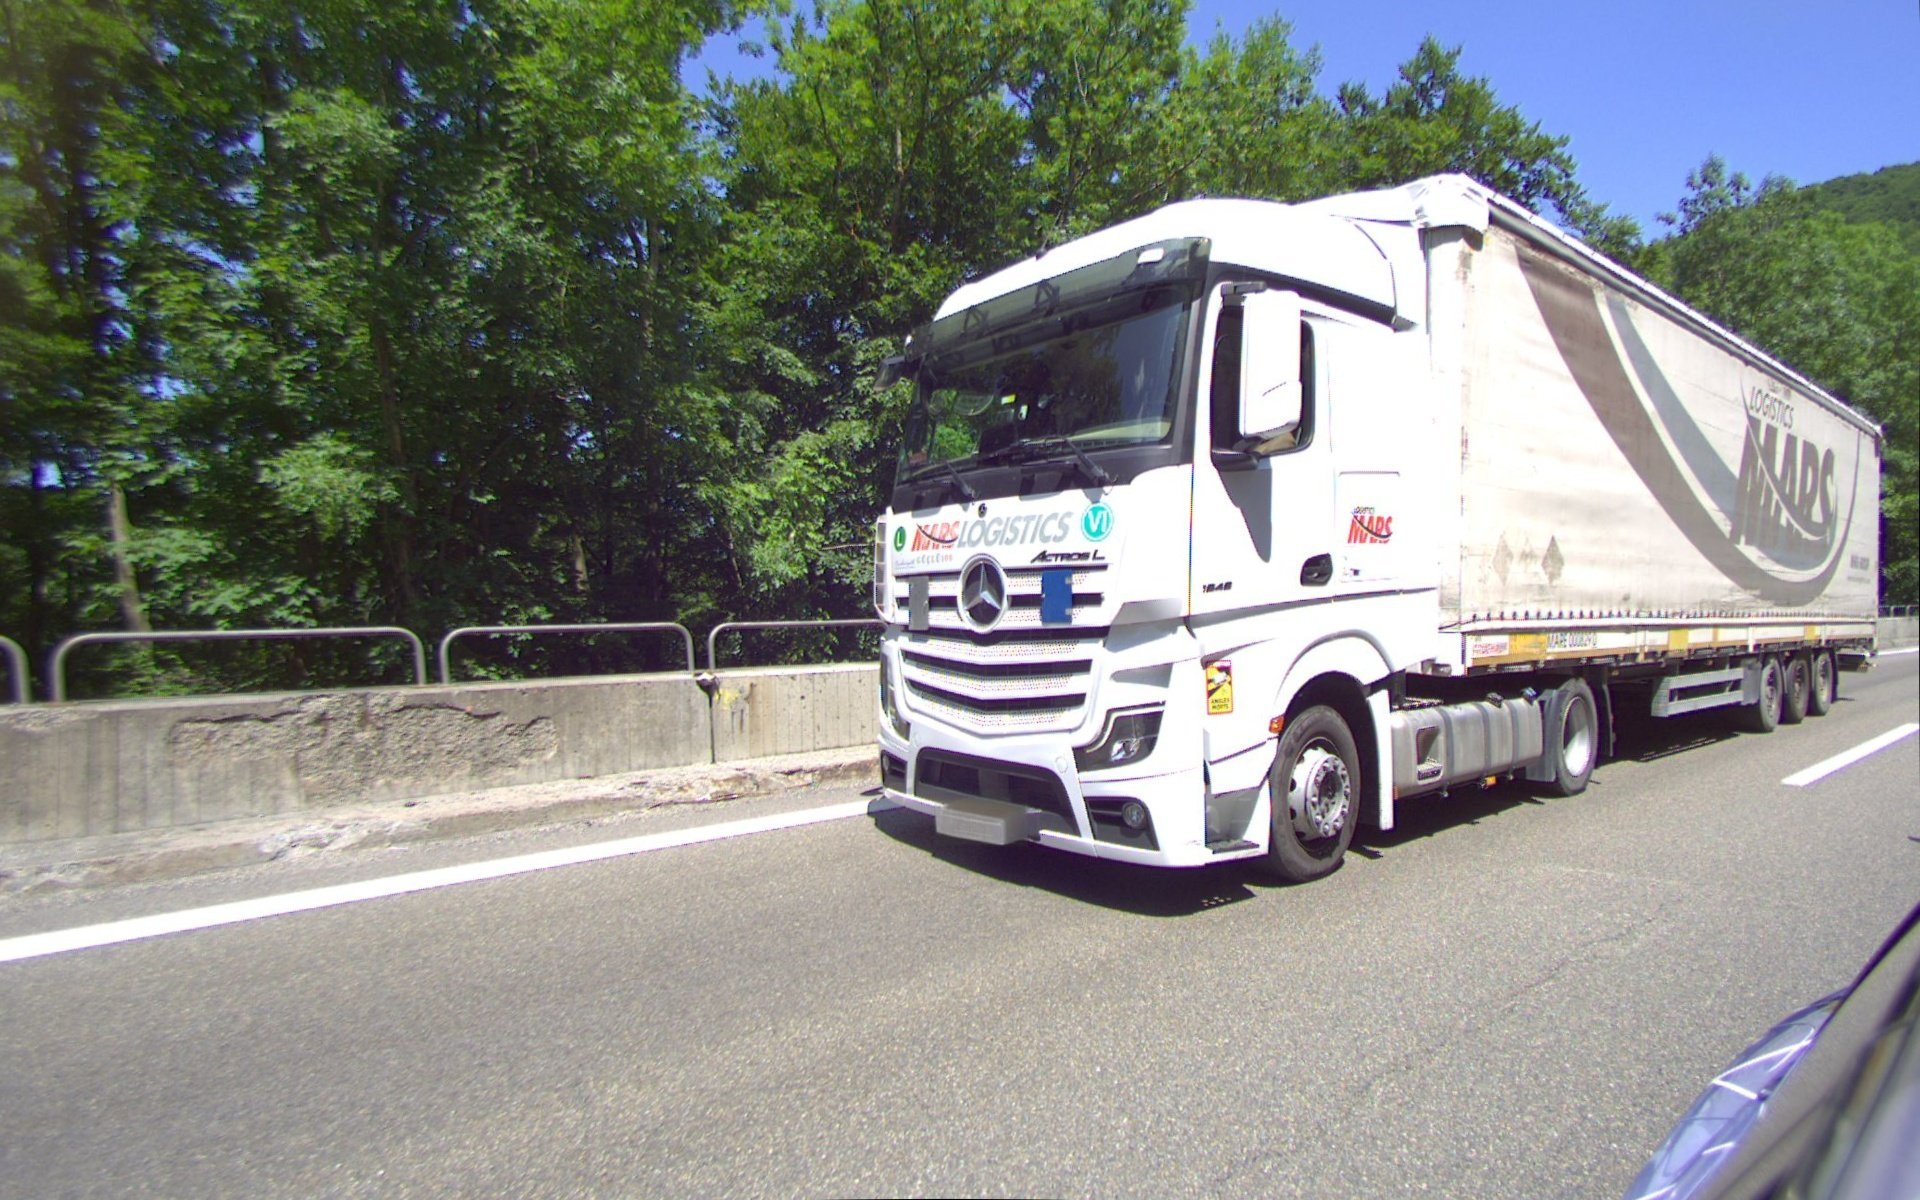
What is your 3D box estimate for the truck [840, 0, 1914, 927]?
[{"bbox_3d":[6.496,-0.789,10.552,16.408,4.185,2.967,0,0,-40],"label":"truck"}]
